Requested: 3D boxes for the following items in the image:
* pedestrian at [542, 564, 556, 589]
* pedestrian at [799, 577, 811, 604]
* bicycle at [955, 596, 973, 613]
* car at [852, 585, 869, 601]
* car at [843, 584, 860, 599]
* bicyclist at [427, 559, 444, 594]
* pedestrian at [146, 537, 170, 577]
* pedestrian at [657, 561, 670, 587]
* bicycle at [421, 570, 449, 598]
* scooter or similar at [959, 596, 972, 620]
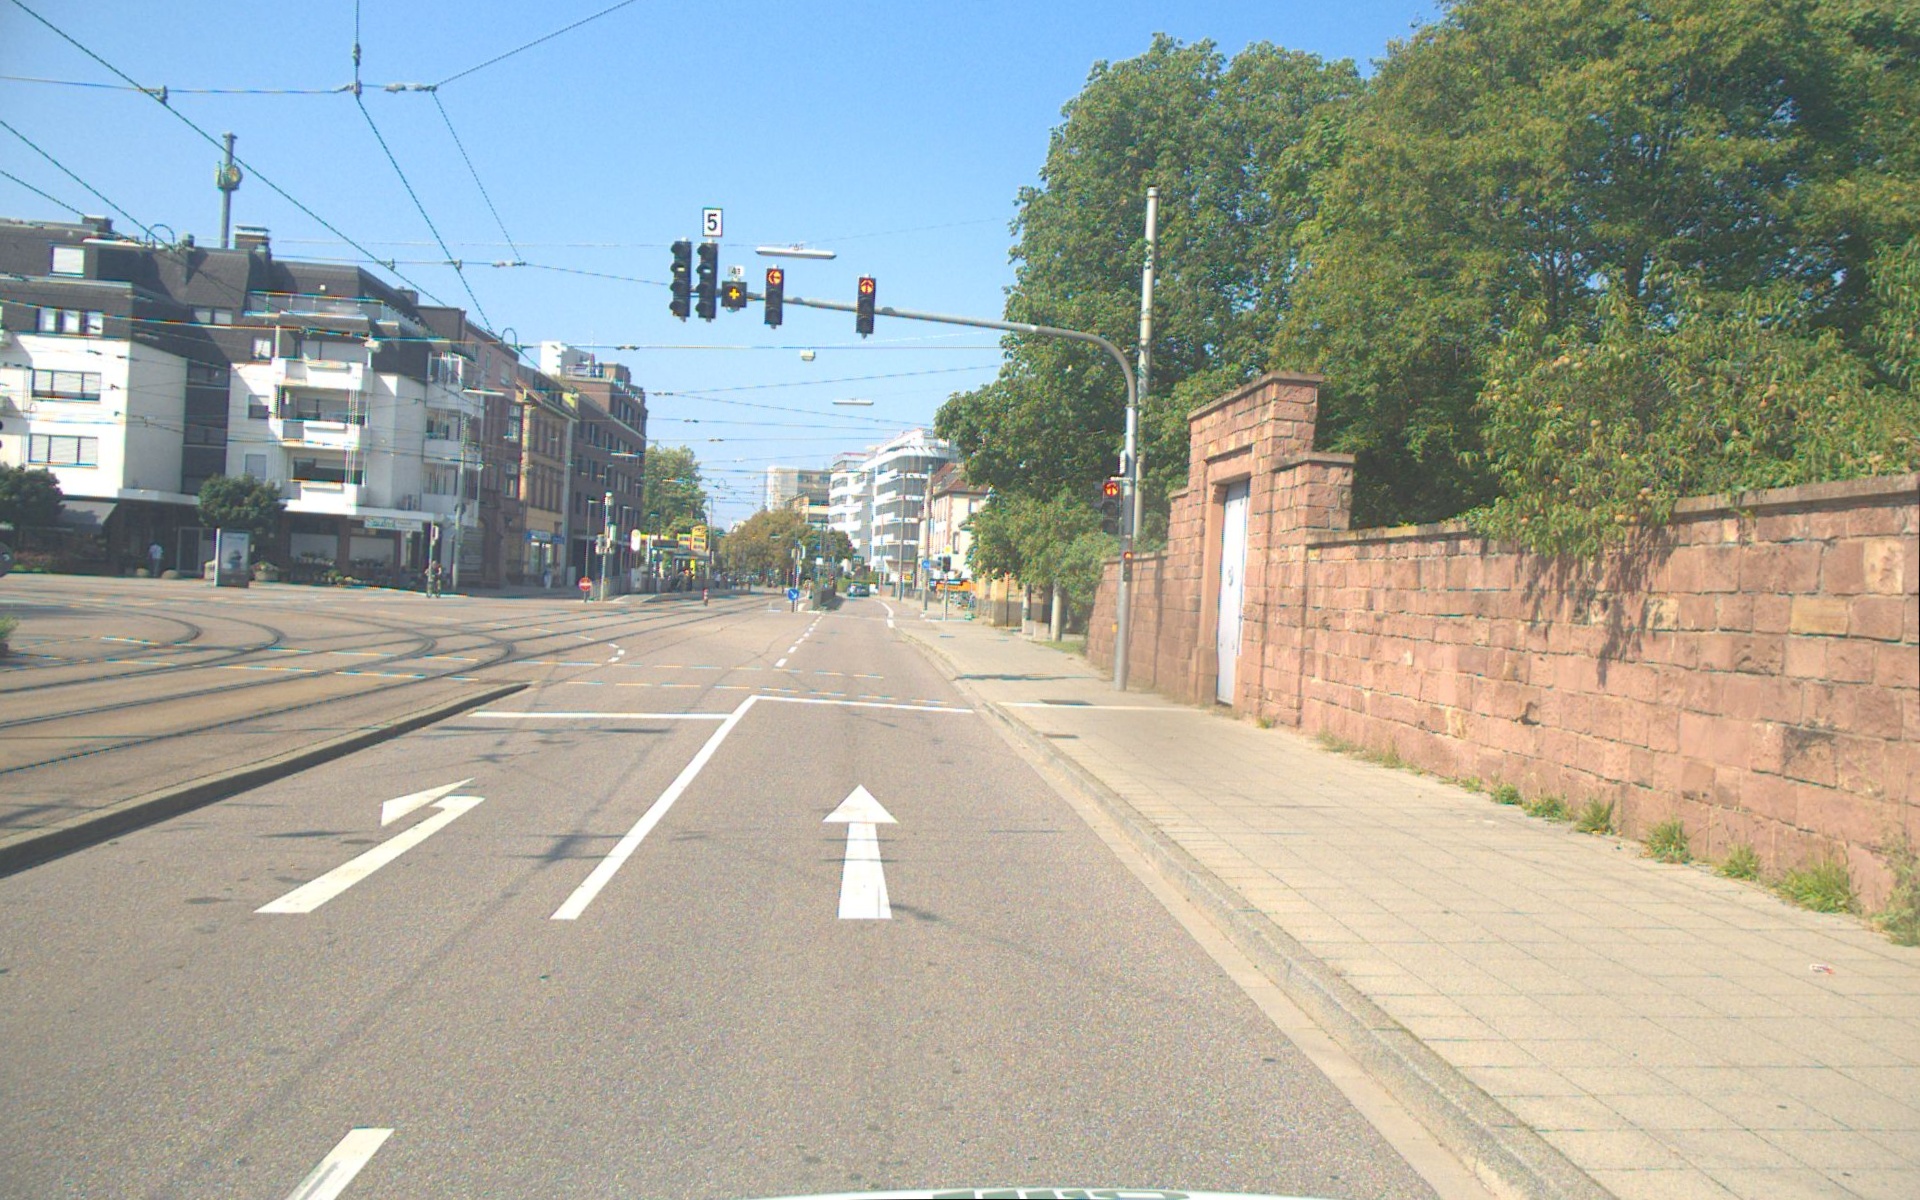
[{"bbox_3d":[-27.361,-1.547,110.164,0.473,1.587,0.887,4,-1,7],"label":"pedestrian"},{"bbox_3d":[-9.926,-0.601,106.091,0.705,1.733,0.884,1,0,-3],"label":"pedestrian"},{"bbox_3d":[0.263,0.313,112.874,0.718,1.152,2.832,0,0,-10],"label":"bicycle"},{"bbox_3d":[-12.151,-0.863,201.732,1.971,1.891,3.998,1,0,-2],"label":"car"},{"bbox_3d":[-13.635,-1.068,207.848,1.971,1.891,3.998,1,0,-2],"label":"car"},{"bbox_3d":[-22.988,-1.030,72.470,0.556,1.549,0.489,1,0,-2],"label":"bicyclist"},{"bbox_3d":[-35.686,-1.917,73.603,0.666,1.771,0.697,1,0,-2],"label":"pedestrian"},{"bbox_3d":[-19.683,-1.718,109.873,0.694,1.753,0.798,1,0,-3],"label":"pedestrian"},{"bbox_3d":[-22.997,-0.695,72.478,0.563,1.200,2.207,1,1,-2],"label":"bicycle"},{"bbox_3d":[0.261,0.367,80.941,0.513,1.153,1.510,1,0,-3],"label":"scooter or similar"}]
